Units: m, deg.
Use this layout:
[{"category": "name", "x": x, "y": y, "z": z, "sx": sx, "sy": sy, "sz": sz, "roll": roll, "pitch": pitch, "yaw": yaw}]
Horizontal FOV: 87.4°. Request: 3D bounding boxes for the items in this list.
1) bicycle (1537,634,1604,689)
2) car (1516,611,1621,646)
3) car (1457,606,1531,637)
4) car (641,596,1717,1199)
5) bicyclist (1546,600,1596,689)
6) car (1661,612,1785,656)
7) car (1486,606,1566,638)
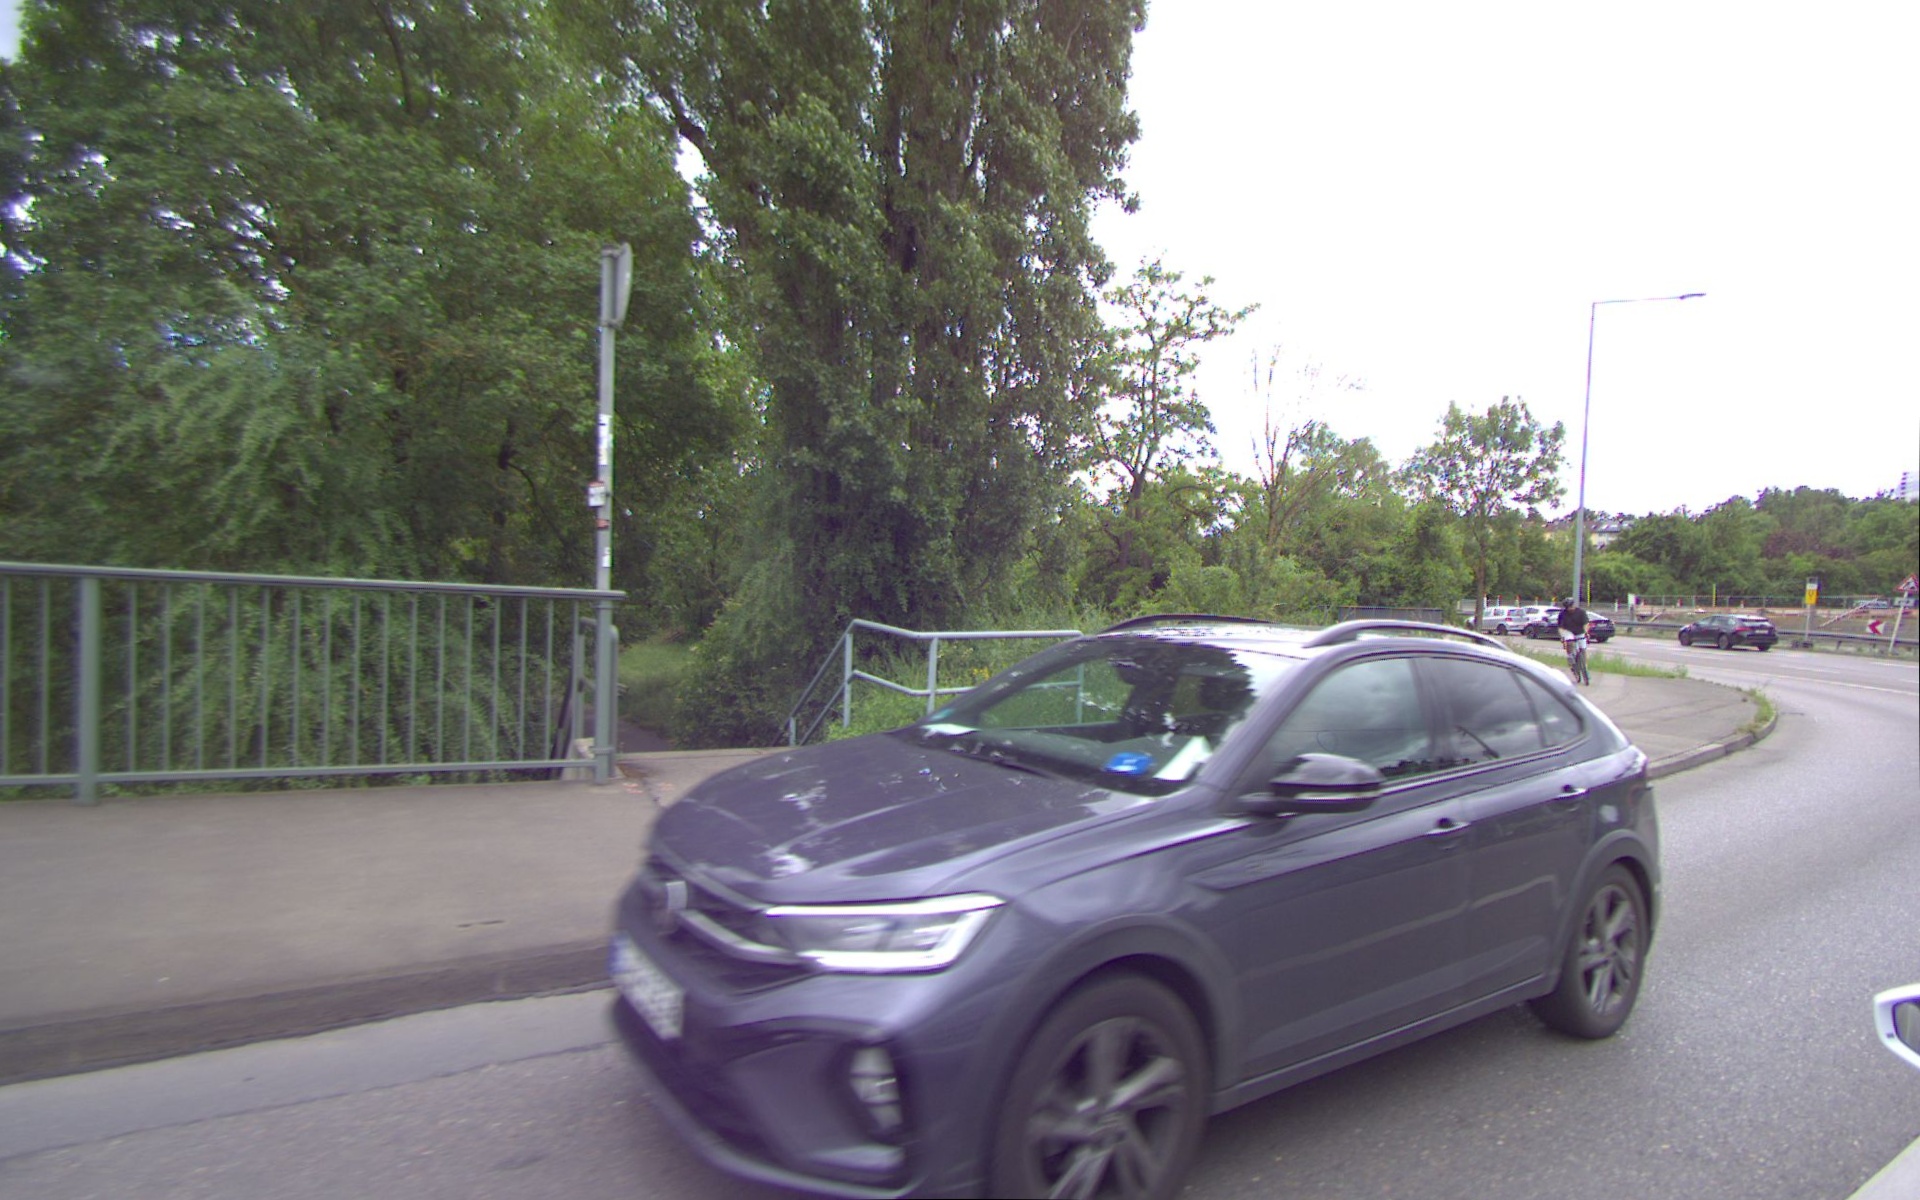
[{"category": "bicycle", "x": 13.287, "y": 1.318, "z": 21.836, "sx": 1.869, "sy": 1.086, "sz": 0.728, "roll": 2, "pitch": 2, "yaw": -44}, {"category": "car", "x": 30.163, "y": 1.364, "z": 49.967, "sx": 1.843, "sy": 1.496, "sz": 4.958, "roll": -1, "pitch": 1, "yaw": -6}, {"category": "car", "x": 29.399, "y": 1.133, "z": 55.400, "sx": 1.645, "sy": 1.489, "sz": 3.617, "roll": -2, "pitch": 2, "yaw": -14}, {"category": "car", "x": 1.052, "y": 0.808, "z": 3.711, "sx": 3.903, "sy": 1.487, "sz": 1.704, "roll": 3, "pitch": -1, "yaw": -36}, {"category": "bicyclist", "x": 13.198, "y": 0.946, "z": 21.688, "sx": 0.895, "sy": 1.832, "sz": 0.620, "roll": 2, "pitch": 2, "yaw": -45}, {"category": "car", "x": 33.218, "y": 1.451, "z": 43.895, "sx": 1.845, "sy": 1.659, "sz": 4.197, "roll": -1, "pitch": 1, "yaw": -9}, {"category": "car", "x": 32.507, "y": 1.240, "z": 57.829, "sx": 1.689, "sy": 1.697, "sz": 3.988, "roll": 2, "pitch": 0, "yaw": -15}]
